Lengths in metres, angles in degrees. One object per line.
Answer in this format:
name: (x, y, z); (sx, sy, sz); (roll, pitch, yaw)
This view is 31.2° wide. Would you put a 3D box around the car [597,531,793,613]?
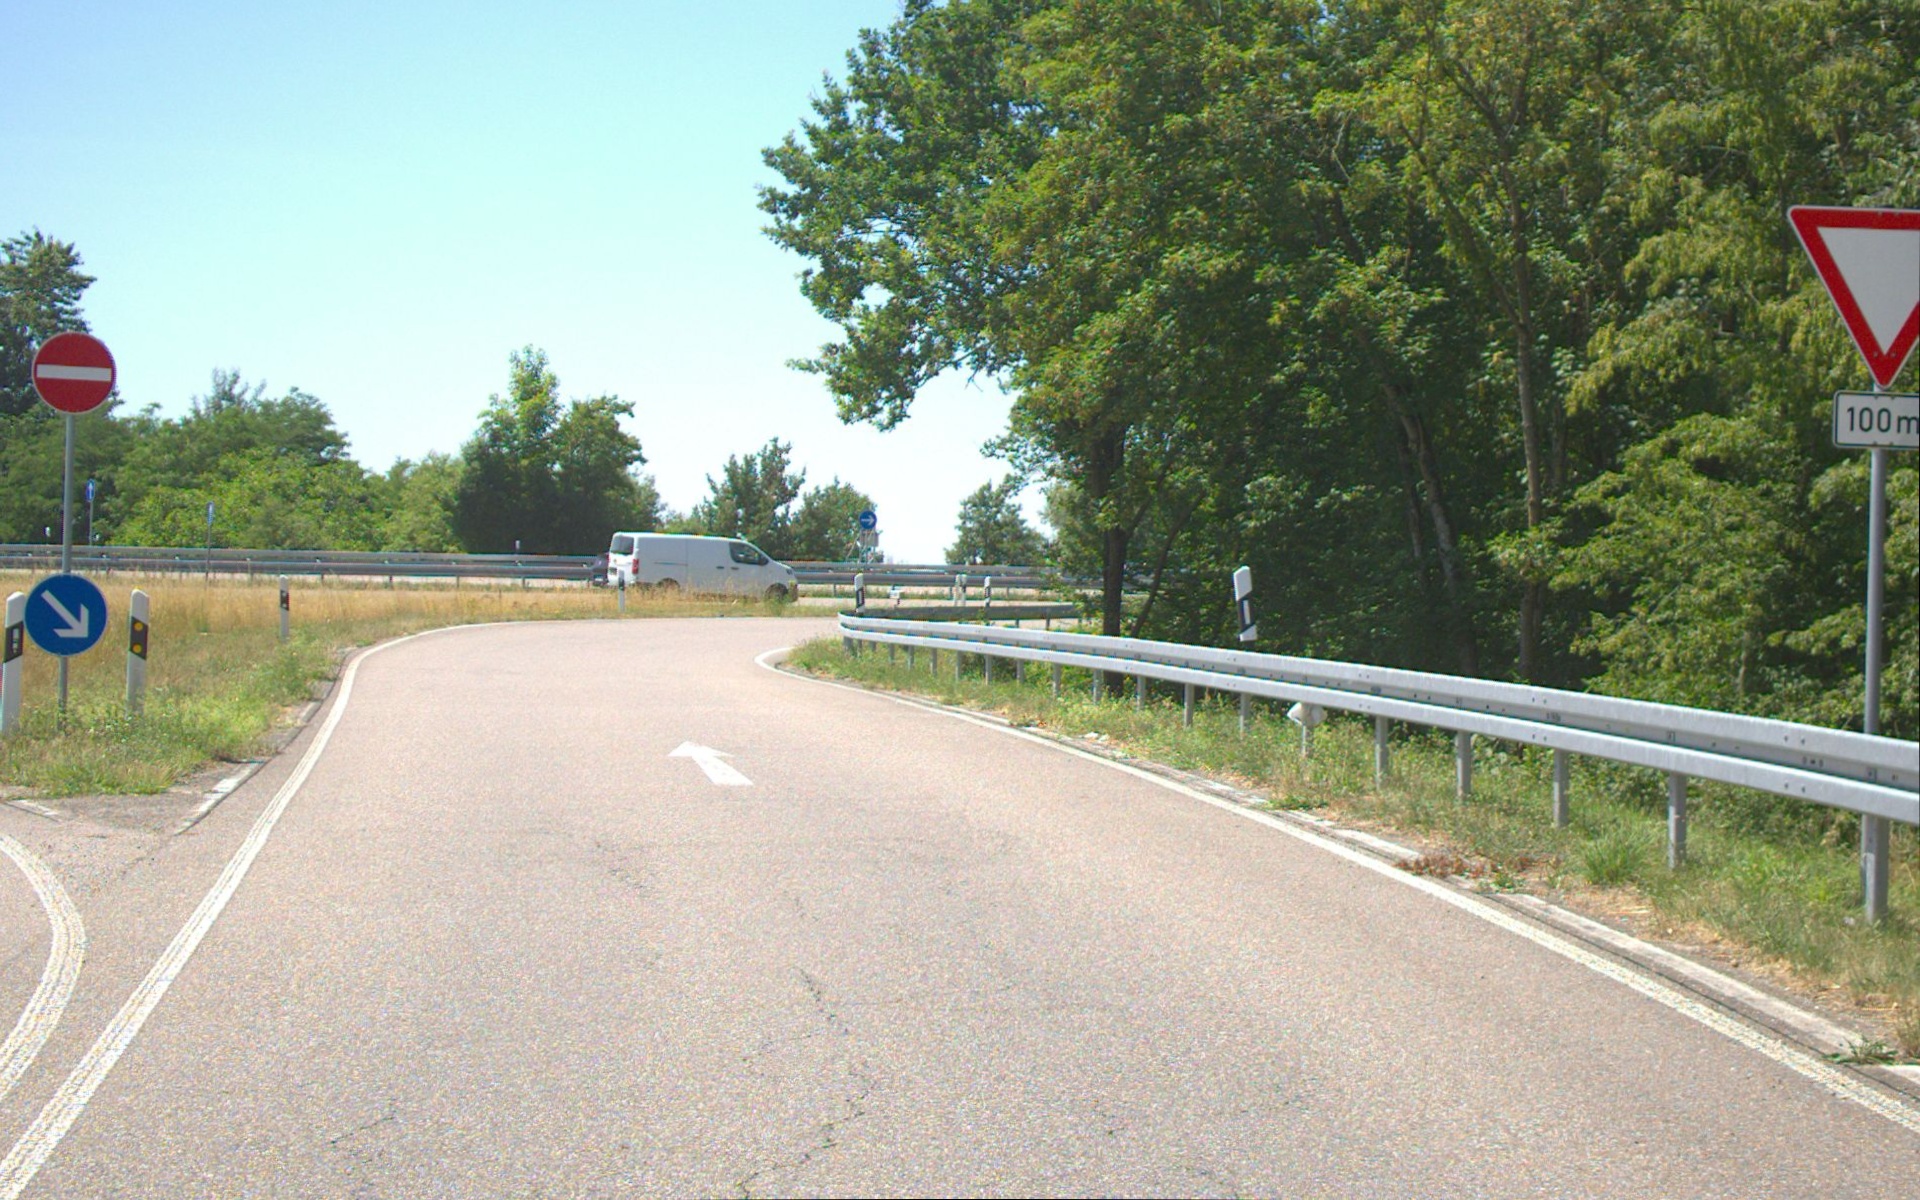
car: (-7.119, -0.733, 92.541); (4.803, 1.921, 2.000); (3, -2, -31)
